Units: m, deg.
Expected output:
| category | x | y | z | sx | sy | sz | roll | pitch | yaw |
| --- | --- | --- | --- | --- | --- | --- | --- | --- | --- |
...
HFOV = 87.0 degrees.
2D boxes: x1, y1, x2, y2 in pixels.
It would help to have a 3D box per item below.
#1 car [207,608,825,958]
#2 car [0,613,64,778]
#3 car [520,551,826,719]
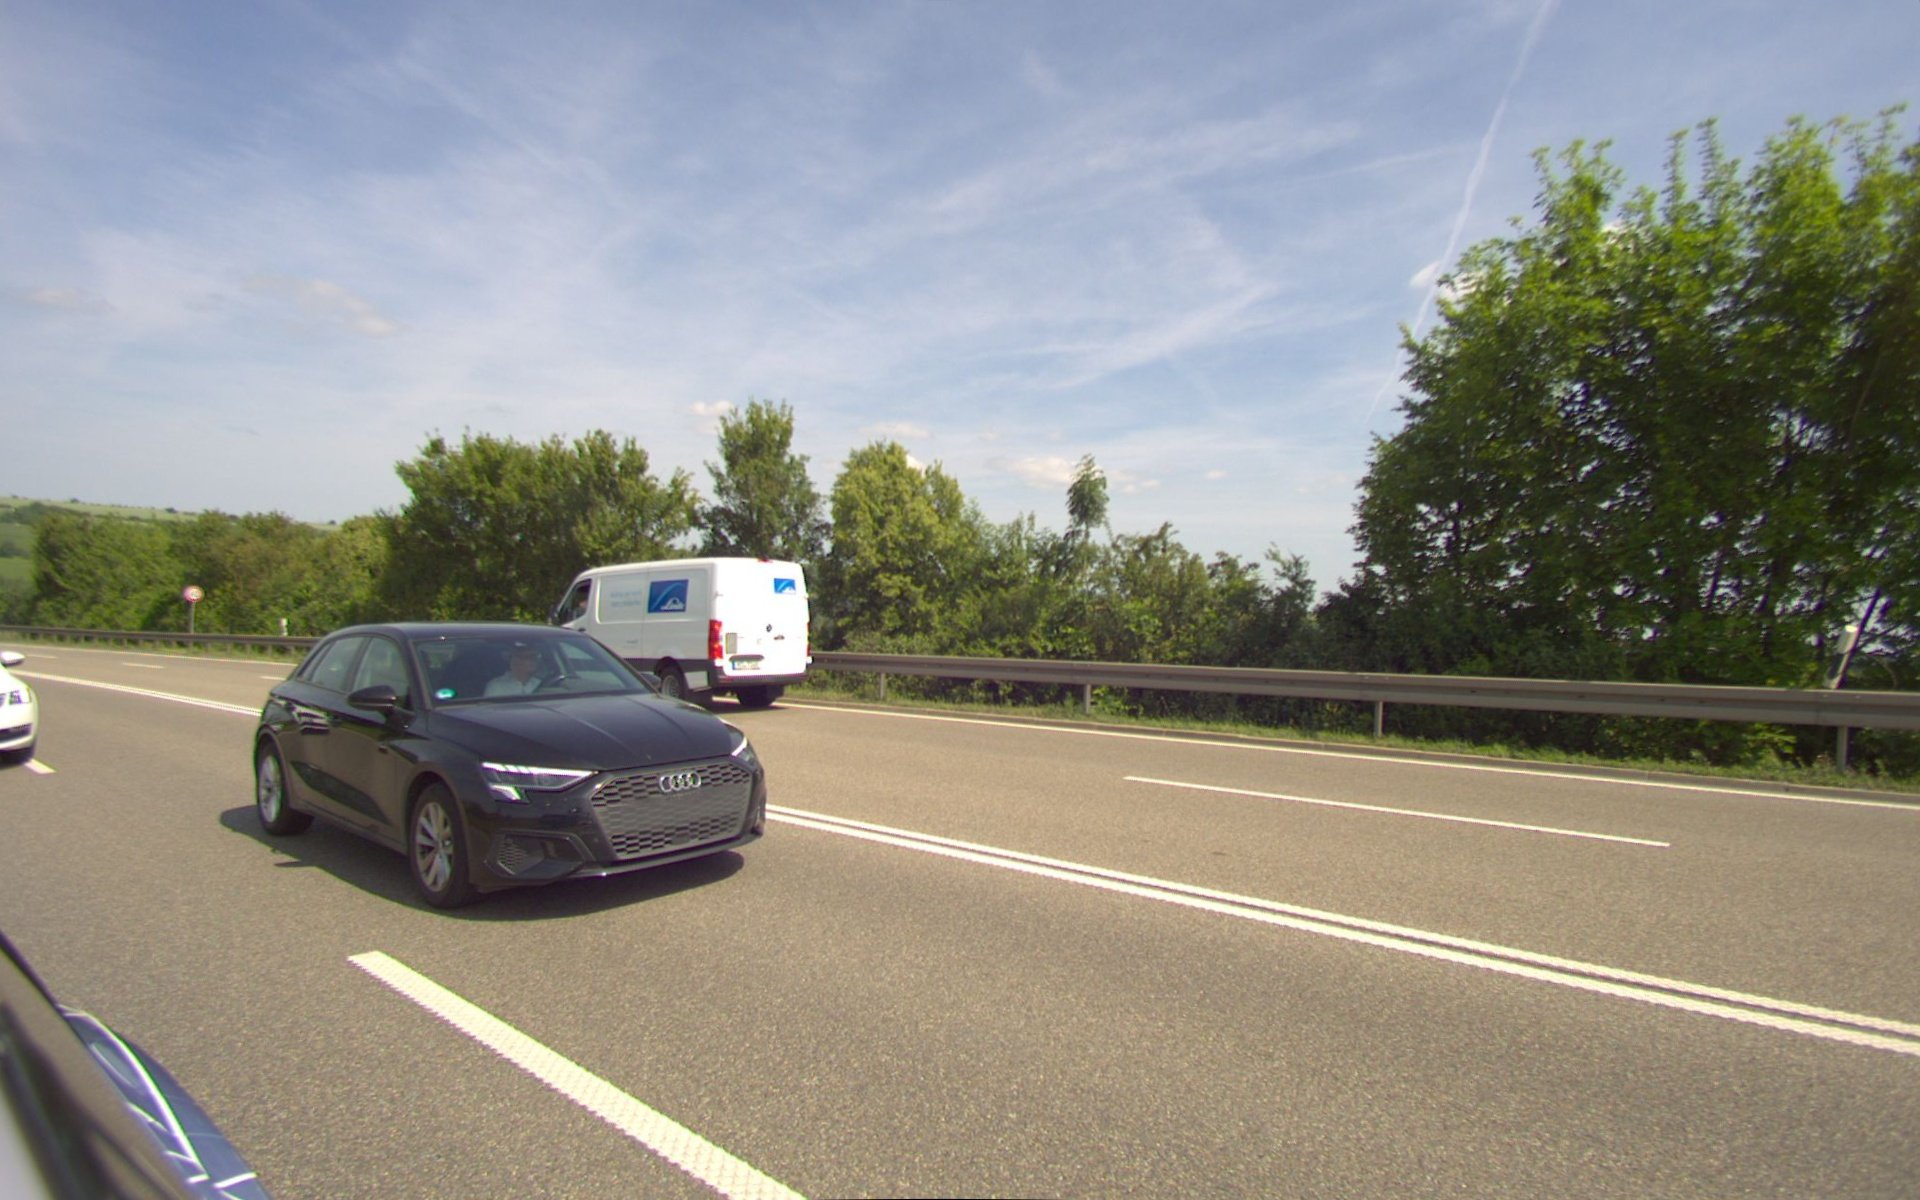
| category | x | y | z | sx | sy | sz | roll | pitch | yaw |
| --- | --- | --- | --- | --- | --- | --- | --- | --- | --- |
| car | -3.124 | 0.806 | 6.511 | 4.807 | 1.483 | 1.688 | -1 | -1 | 40 |
| car | -10.865 | 0.906 | 10.171 | 4.779 | 1.483 | 1.804 | -1 | -1 | 36 |
| car | -5.029 | 0.550 | 17.175 | 5.838 | 2.413 | 2.068 | -1 | -2 | 40 |
